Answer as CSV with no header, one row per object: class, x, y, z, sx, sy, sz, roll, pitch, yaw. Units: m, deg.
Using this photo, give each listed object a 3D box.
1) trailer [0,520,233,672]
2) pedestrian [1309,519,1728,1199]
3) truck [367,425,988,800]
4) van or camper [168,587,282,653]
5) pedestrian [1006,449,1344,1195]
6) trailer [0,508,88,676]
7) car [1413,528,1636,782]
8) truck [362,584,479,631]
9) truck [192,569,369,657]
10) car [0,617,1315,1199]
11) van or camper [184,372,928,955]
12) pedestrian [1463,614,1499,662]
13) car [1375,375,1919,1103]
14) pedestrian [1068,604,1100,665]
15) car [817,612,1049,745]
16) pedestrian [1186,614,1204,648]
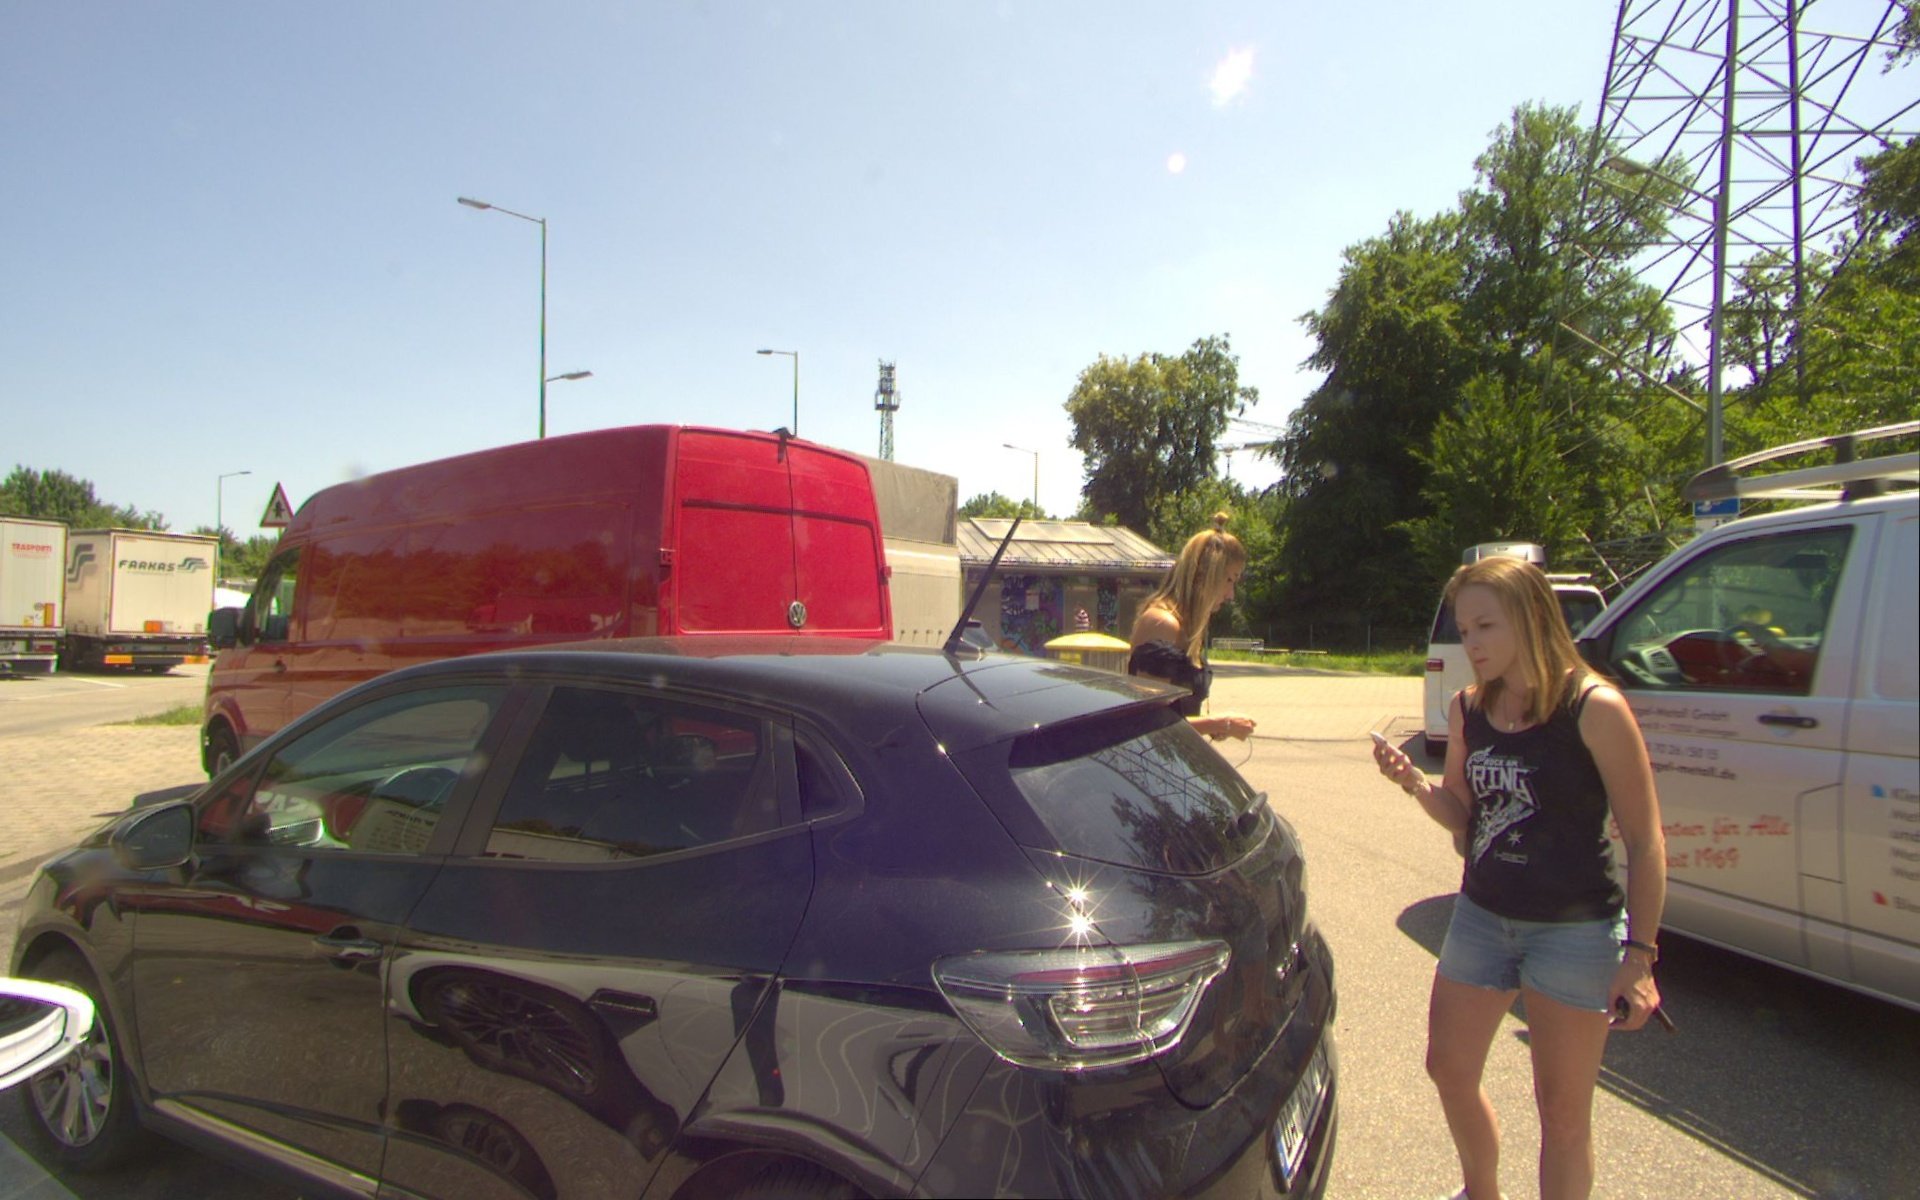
trailer,-27.292,-0.208,31.446,12.255,4.090,2.862,2,-1,33
pedestrian,1.156,0.682,2.057,0.646,1.606,0.644,1,-1,39
truck,-3.260,0.127,10.540,6.874,2.828,2.460,0,-1,35
van or camper,-30.410,0.811,41.368,5.296,2.595,2.100,0,-1,34
pedestrian,0.707,0.575,3.139,0.762,1.896,0.913,1,-1,31
trailer,-28.353,-0.337,27.781,12.255,4.090,2.862,2,-1,33
car,6.540,0.562,11.539,1.892,2.354,4.074,-1,-1,32
truck,-34.719,0.454,64.261,9.637,2.857,2.121,0,-1,33
truck,-31.690,0.496,46.459,11.255,3.615,2.484,2,-1,33
car,-1.059,0.830,2.826,3.706,1.503,1.615,0,-1,27
van or camper,-3.366,0.319,7.334,6.394,2.688,1.990,0,-1,36
pedestrian,15.337,1.119,29.485,0.695,1.392,0.607,1,0,-3
car,3.846,0.429,3.159,1.963,2.178,5.307,1,-1,-13
pedestrian,3.352,0.933,27.151,0.751,1.629,0.756,1,0,-1
car,-0.555,1.017,14.653,1.822,1.644,4.032,1,-1,-28
pedestrian,10.814,1.428,46.070,0.577,1.536,0.592,1,0,-10
